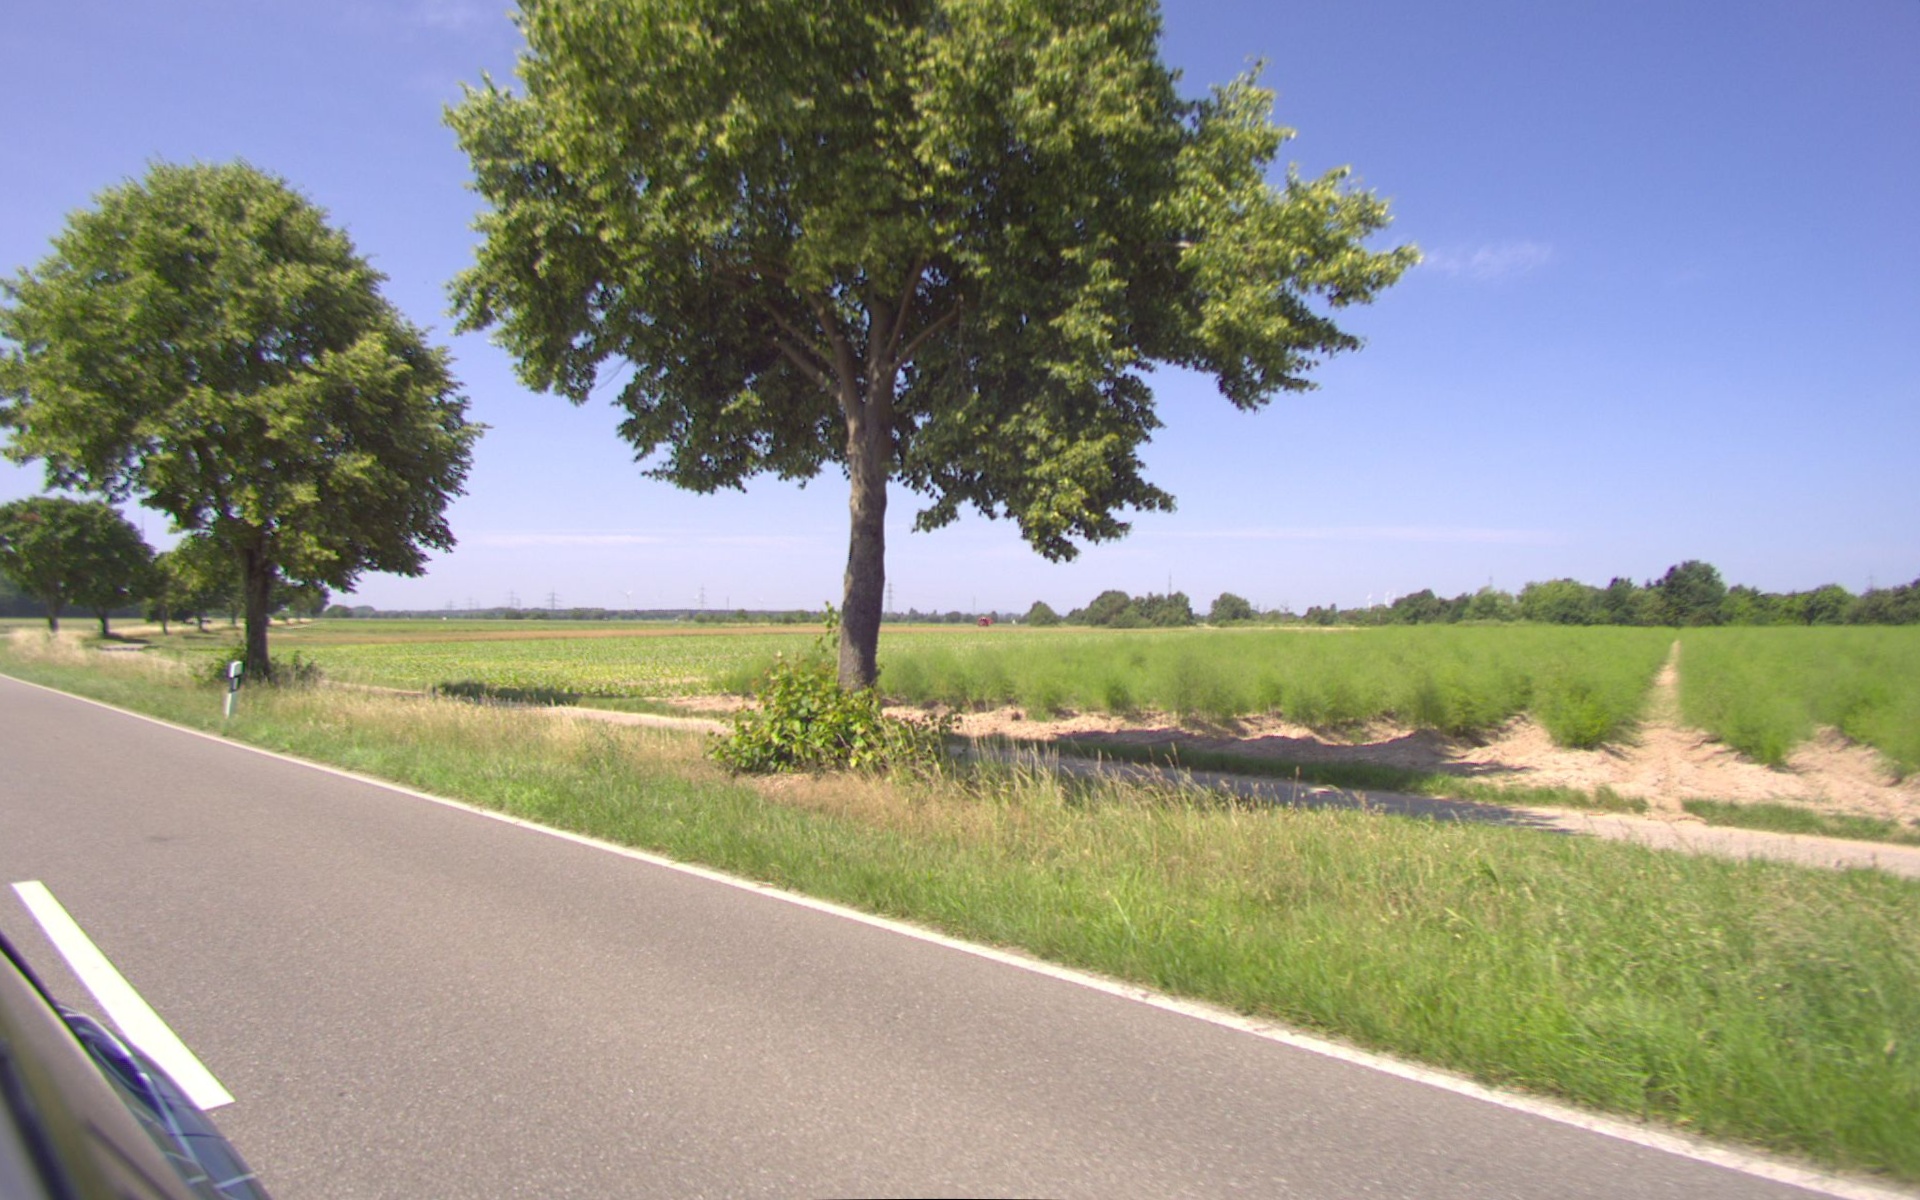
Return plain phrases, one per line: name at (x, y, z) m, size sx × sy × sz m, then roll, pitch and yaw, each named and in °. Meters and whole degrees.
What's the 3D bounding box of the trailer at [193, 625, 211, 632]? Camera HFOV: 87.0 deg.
trailer at (-127.655, 4.837, 170.458) m, size 1.600 × 1.073 × 4.132 m, roll 4°, pitch -4°, yaw -27°
